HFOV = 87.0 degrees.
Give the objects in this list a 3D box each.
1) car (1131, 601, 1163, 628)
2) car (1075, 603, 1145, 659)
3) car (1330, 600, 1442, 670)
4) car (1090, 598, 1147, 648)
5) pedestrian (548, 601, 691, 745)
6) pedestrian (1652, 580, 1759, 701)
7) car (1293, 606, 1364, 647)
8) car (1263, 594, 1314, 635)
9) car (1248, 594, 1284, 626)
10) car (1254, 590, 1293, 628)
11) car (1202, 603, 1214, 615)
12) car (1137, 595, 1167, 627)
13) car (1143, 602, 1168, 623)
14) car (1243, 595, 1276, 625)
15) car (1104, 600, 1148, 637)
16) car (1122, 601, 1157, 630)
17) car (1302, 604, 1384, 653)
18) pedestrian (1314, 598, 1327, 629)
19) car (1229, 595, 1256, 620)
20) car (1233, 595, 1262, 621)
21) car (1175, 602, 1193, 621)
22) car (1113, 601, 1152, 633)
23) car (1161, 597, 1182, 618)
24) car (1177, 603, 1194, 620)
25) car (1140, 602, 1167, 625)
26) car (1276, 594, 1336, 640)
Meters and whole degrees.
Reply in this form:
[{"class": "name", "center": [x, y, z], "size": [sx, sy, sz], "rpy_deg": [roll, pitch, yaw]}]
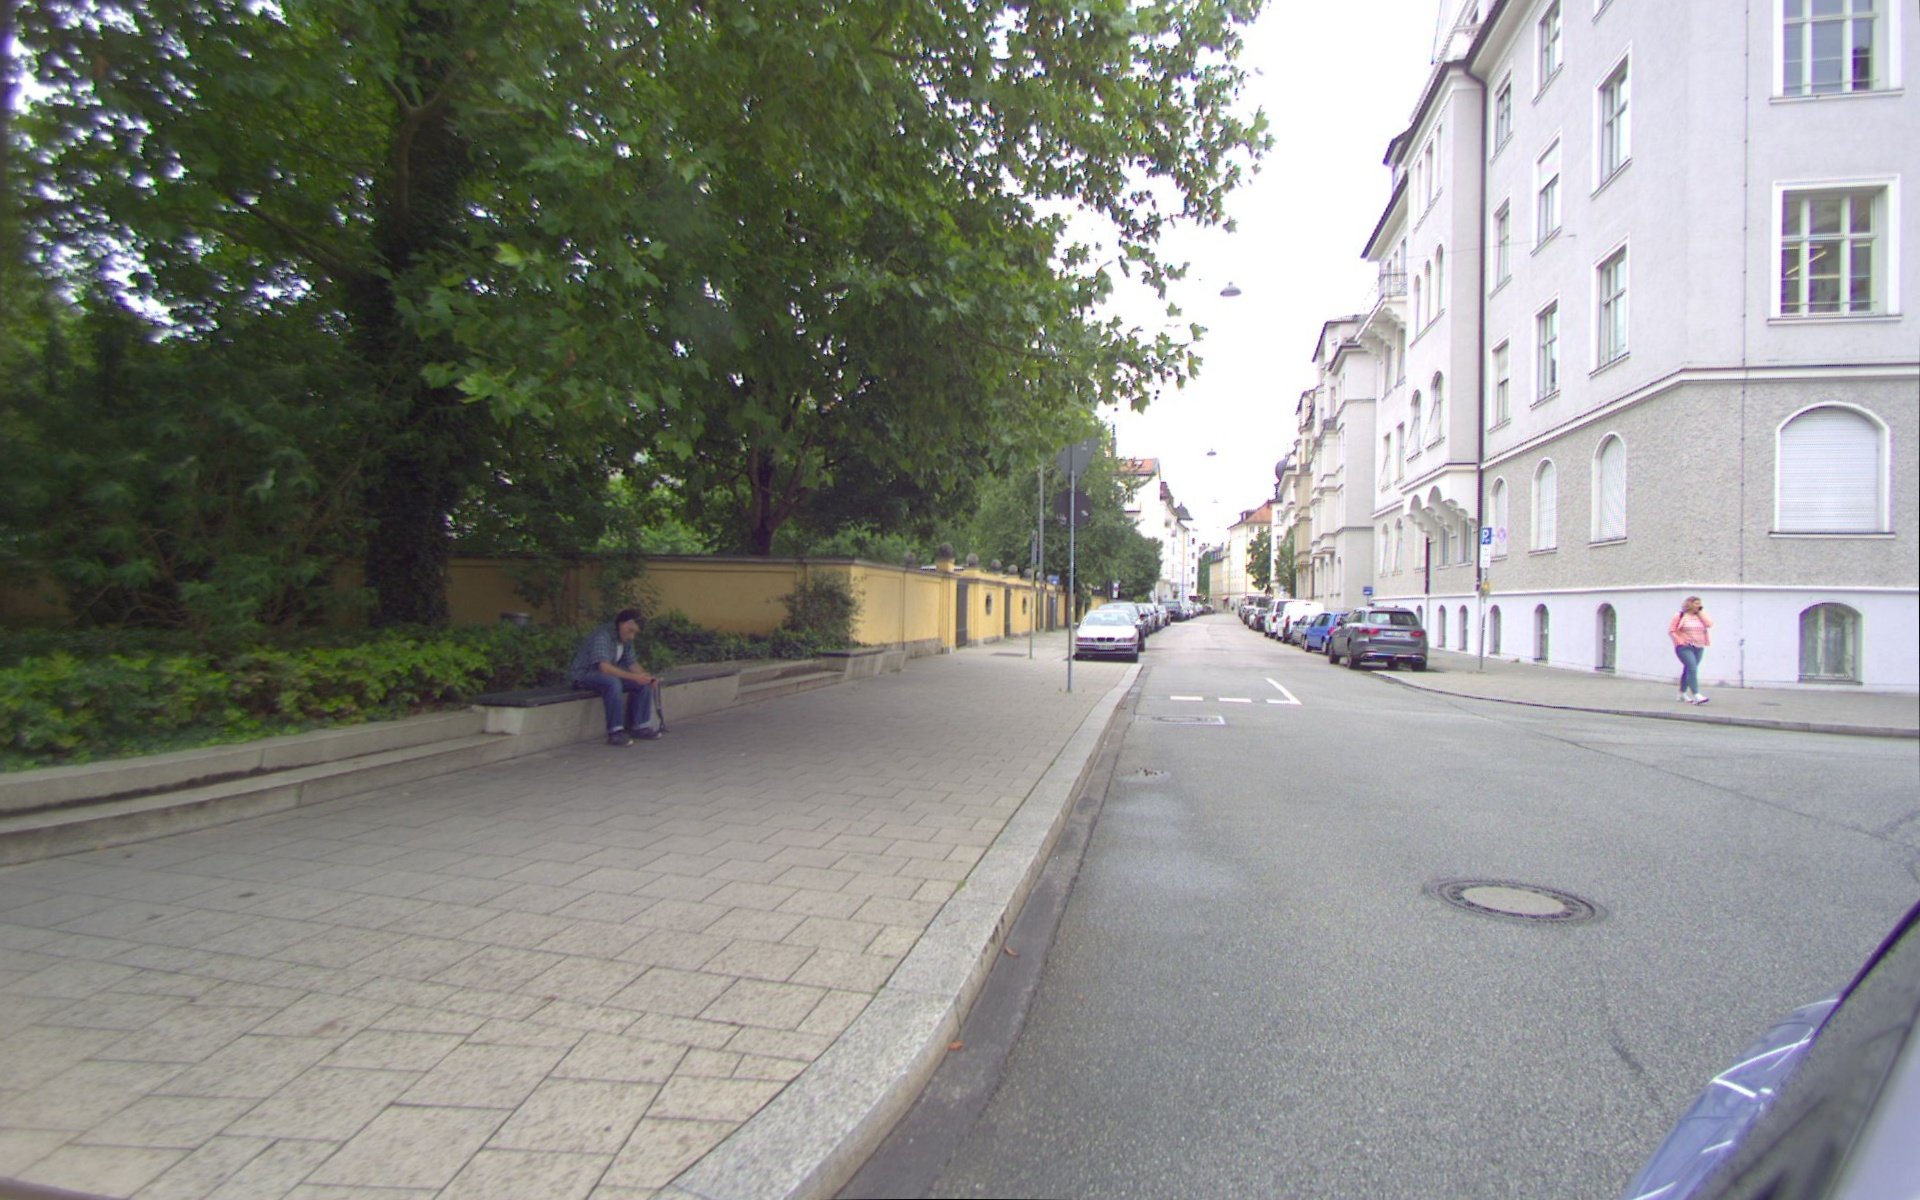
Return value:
[{"class": "car", "center": [10.739, 0.798, 58.024], "size": [1.747, 1.463, 4.053], "rpy_deg": [1, 0, 11]}, {"class": "car", "center": [4.330, 0.810, 28.887], "size": [1.796, 1.420, 4.558], "rpy_deg": [1, 0, 10]}, {"class": "car", "center": [11.279, 0.854, 27.097], "size": [1.863, 1.637, 4.406], "rpy_deg": [2, 0, 11]}, {"class": "car", "center": [5.451, 0.720, 34.588], "size": [1.796, 1.549, 4.558], "rpy_deg": [1, 0, 10]}, {"class": "pedestrian", "center": [-3.017, 0.615, 9.026], "size": [0.907, 1.204, 0.810], "rpy_deg": [1, 0, 17]}, {"class": "pedestrian", "center": [12.166, 0.627, 16.559], "size": [1.199, 1.897, 1.082], "rpy_deg": [0, 0, 25]}, {"class": "car", "center": [14.169, 0.967, 39.157], "size": [1.863, 1.392, 4.406], "rpy_deg": [2, 0, 11]}, {"class": "car", "center": [16.291, 0.673, 50.358], "size": [1.863, 1.907, 4.406], "rpy_deg": [2, 0, 11]}, {"class": "car", "center": [20.663, 0.655, 68.458], "size": [1.863, 2.062, 4.405], "rpy_deg": [2, 0, 12]}, {"class": "car", "center": [19.658, 0.542, 63.607], "size": [1.863, 2.285, 4.405], "rpy_deg": [2, 0, 12]}, {"class": "car", "center": [40.138, 1.461, 163.896], "size": [1.748, 1.825, 4.326], "rpy_deg": [1, 0, 13]}, {"class": "car", "center": [12.024, 0.636, 63.313], "size": [1.747, 1.909, 4.053], "rpy_deg": [1, 0, 11]}, {"class": "car", "center": [14.094, 0.859, 72.947], "size": [1.747, 1.463, 4.053], "rpy_deg": [1, 0, 11]}, {"class": "car", "center": [21.632, 0.705, 73.337], "size": [1.863, 2.062, 4.405], "rpy_deg": [2, 0, 12]}, {"class": "car", "center": [7.382, 0.780, 44.698], "size": [1.796, 1.549, 4.389], "rpy_deg": [1, 0, 11]}, {"class": "car", "center": [9.574, 0.775, 53.810], "size": [1.747, 1.463, 4.053], "rpy_deg": [1, 0, 11]}, {"class": "car", "center": [13.002, 0.929, 34.584], "size": [1.863, 1.482, 4.406], "rpy_deg": [2, 0, 11]}, {"class": "pedestrian", "center": [24.164, 0.897, 67.820], "size": [0.700, 2.039, 0.706], "rpy_deg": [0, -1, 14]}, {"class": "car", "center": [24.626, 0.601, 88.391], "size": [1.863, 2.062, 4.405], "rpy_deg": [2, 0, 12]}, {"class": "car", "center": [23.742, 0.645, 83.683], "size": [1.863, 2.062, 4.405], "rpy_deg": [2, 0, 12]}, {"class": "car", "center": [23.154, 1.149, 104.438], "size": [1.748, 1.825, 4.326], "rpy_deg": [1, 0, 13]}, {"class": "car", "center": [8.481, 0.779, 49.465], "size": [1.747, 1.463, 4.389], "rpy_deg": [1, 0, 11]}, {"class": "car", "center": [18.738, 0.643, 89.639], "size": [1.748, 1.825, 4.326], "rpy_deg": [1, 0, 13]}, {"class": "car", "center": [25.662, 1.302, 115.015], "size": [1.748, 1.825, 4.326], "rpy_deg": [1, 0, 13]}, {"class": "car", "center": [12.981, 0.870, 67.901], "size": [1.747, 1.463, 4.053], "rpy_deg": [1, 0, 11]}, {"class": "car", "center": [15.075, 0.709, 44.286], "size": [1.863, 1.876, 4.406], "rpy_deg": [2, 0, 11]}]
